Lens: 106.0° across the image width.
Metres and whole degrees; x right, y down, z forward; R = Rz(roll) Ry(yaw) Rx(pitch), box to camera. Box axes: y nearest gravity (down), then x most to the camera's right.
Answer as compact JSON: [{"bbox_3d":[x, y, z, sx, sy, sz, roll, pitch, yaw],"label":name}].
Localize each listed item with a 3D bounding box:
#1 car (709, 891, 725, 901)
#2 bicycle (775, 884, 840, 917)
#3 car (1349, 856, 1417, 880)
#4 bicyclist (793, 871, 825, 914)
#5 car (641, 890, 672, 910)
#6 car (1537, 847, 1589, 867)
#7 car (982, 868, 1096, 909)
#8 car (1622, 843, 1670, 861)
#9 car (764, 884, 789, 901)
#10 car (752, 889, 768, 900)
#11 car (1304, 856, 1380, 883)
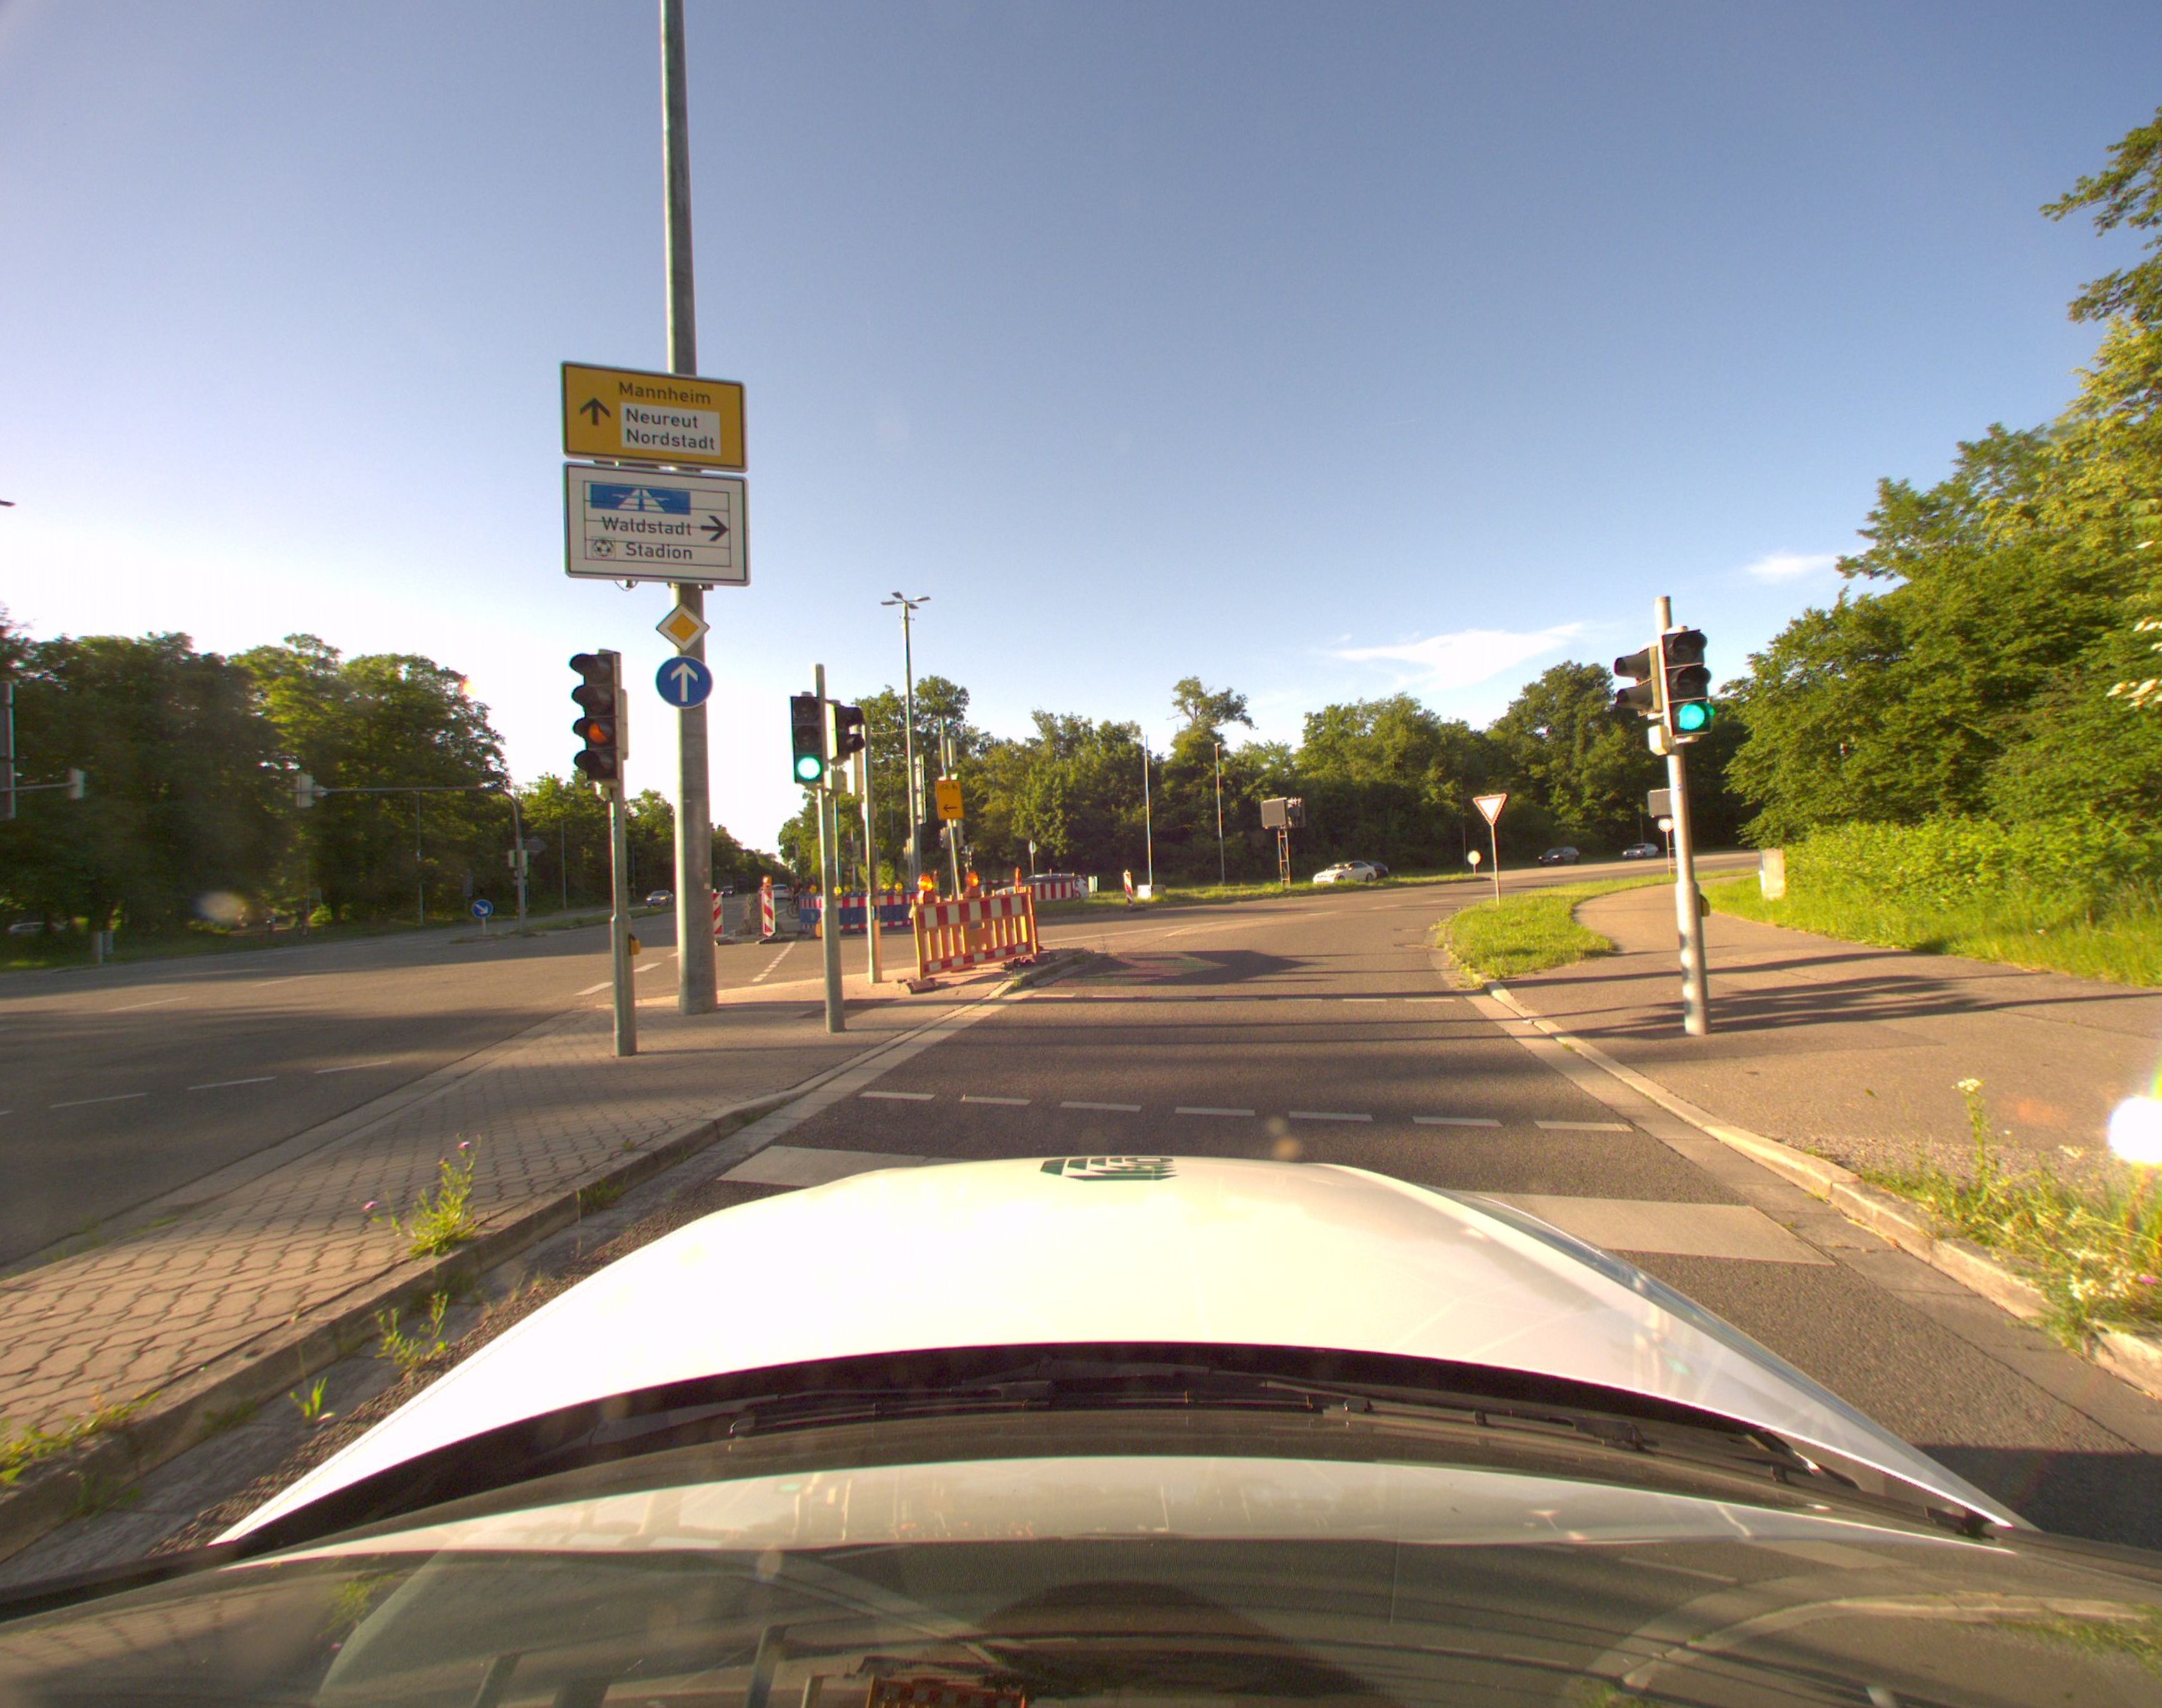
[{"bbox_3d":[-62.040,7.138,138.864,1.999,1.655,4.223,-2,-1,-17],"label":"car"},{"bbox_3d":[-12.524,2.096,37.359,0.956,1.383,2.656,-3,-2,42],"label":"bicycle"},{"bbox_3d":[20.782,0.955,55.998,4.829,1.436,1.978,-2,-2,-37],"label":"car"},{"bbox_3d":[-12.493,1.767,37.425,0.956,1.930,1.022,-3,-2,42],"label":"bicyclist"},{"bbox_3d":[-43.093,4.644,82.773,1.999,1.789,4.223,-2,-1,-17],"label":"car"},{"bbox_3d":[41.763,0.268,70.542,4.668,1.529,1.979,-2,-2,-33],"label":"car"},{"bbox_3d":[-1.862,1.543,37.077,4.856,1.581,1.977,-2,-2,-38],"label":"car"},{"bbox_3d":[54.515,-0.215,78.510,4.666,1.529,1.980,-2,-2,-31],"label":"car"},{"bbox_3d":[-27.248,3.448,73.003,1.947,1.414,3.973,-3,-1,-20],"label":"car"},{"bbox_3d":[-47.814,6.050,121.439,1.867,1.444,3.978,-2,-2,-16],"label":"car"},{"bbox_3d":[16.020,0.951,49.921,4.829,1.436,1.978,-2,-2,-37],"label":"car"}]
